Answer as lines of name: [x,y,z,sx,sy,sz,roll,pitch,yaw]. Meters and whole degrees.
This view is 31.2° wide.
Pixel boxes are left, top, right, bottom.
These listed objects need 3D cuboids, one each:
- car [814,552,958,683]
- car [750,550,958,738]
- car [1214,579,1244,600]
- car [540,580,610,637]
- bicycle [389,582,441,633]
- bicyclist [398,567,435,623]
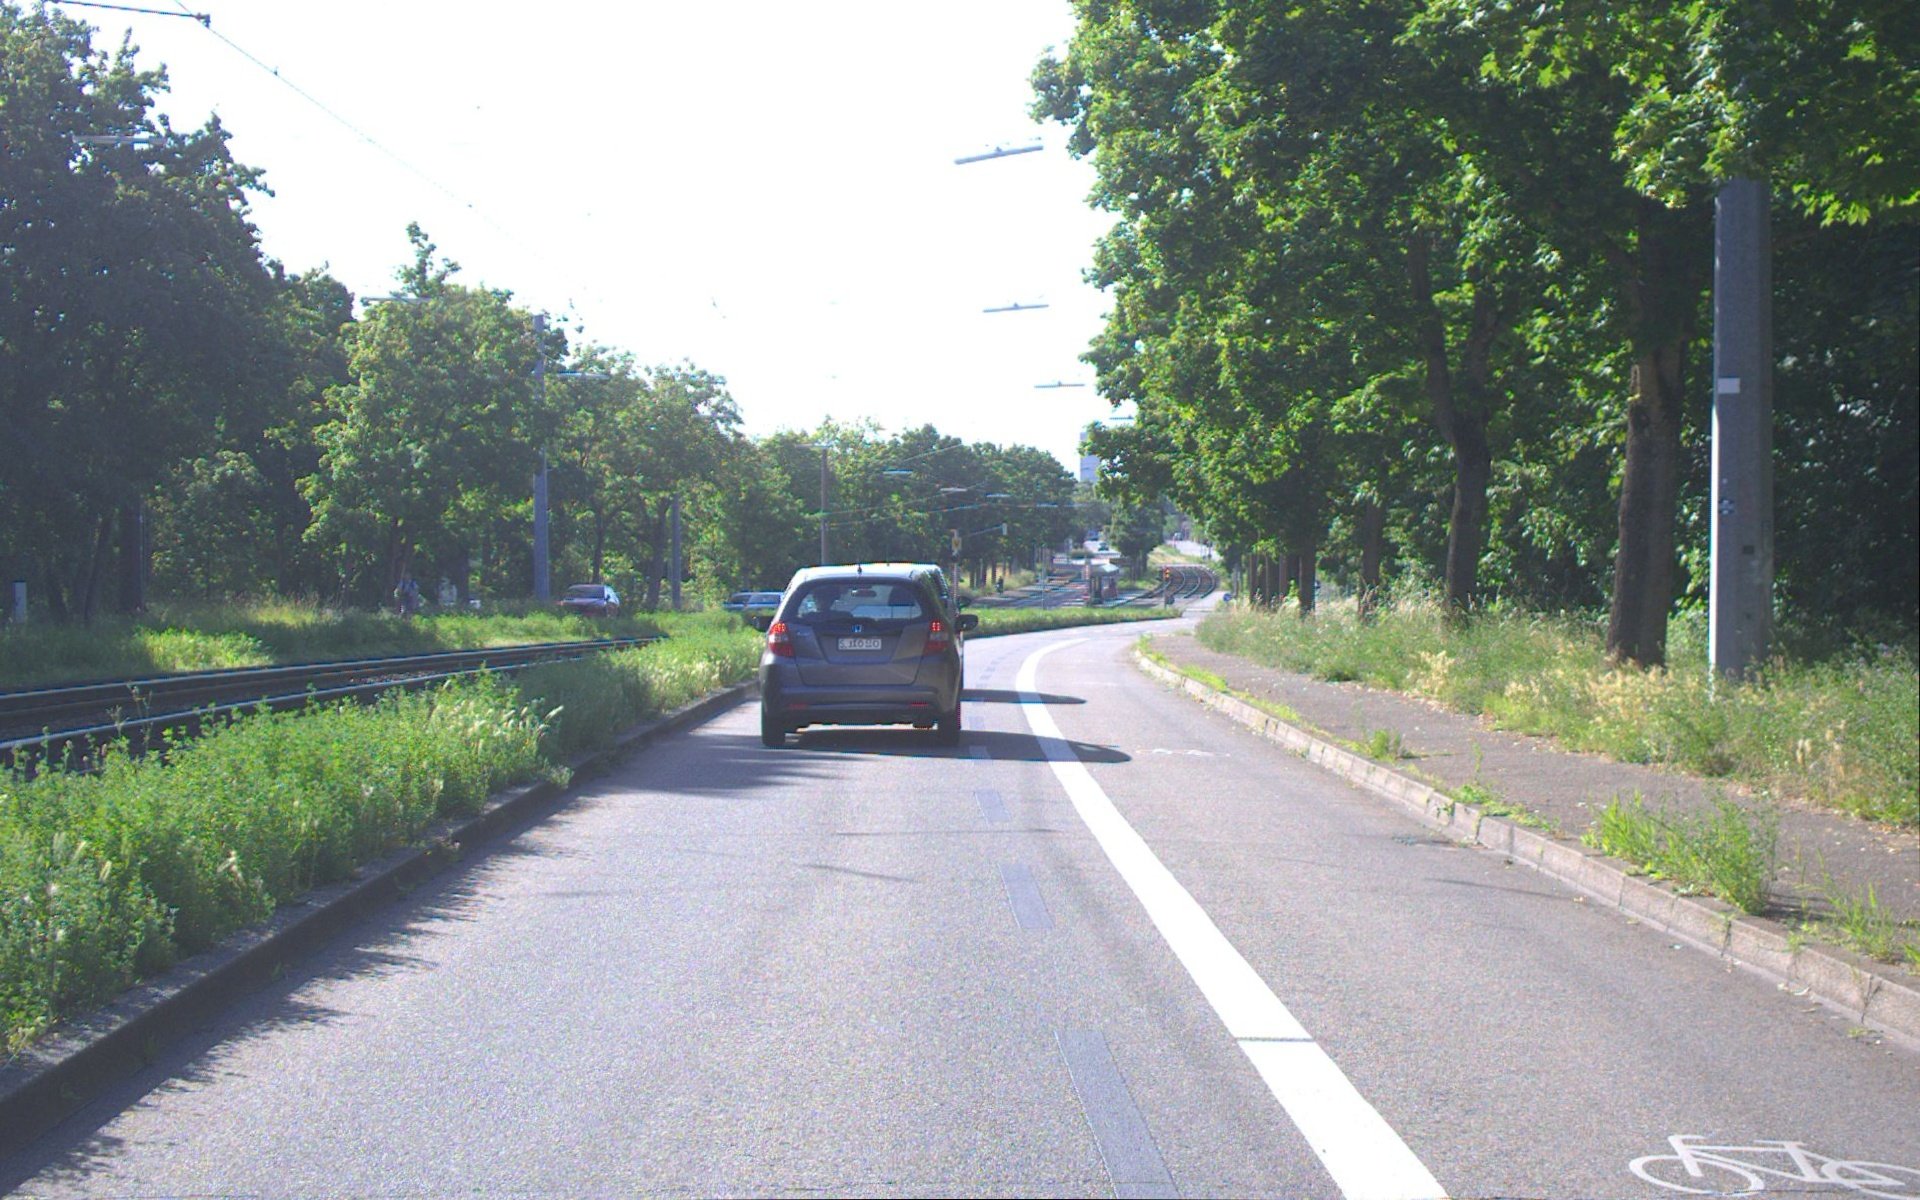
car: [-0.884,0.180,42.412,1.654,1.502,3.811,1,1,0]
car: [-0.882,0.349,30.078,1.670,1.502,3.811,1,0,0]
car: [19.460,-0.764,248.380,1.655,1.308,3.809,2,3,12]
car: [-14.394,0.306,128.606,1.993,1.869,4.000,2,3,2]
bicycle: [-14.907,0.197,94.075,0.789,1.191,3.169,2,3,2]
bicyclist: [-14.888,-0.141,94.245,0.790,1.484,1.109,2,3,2]
